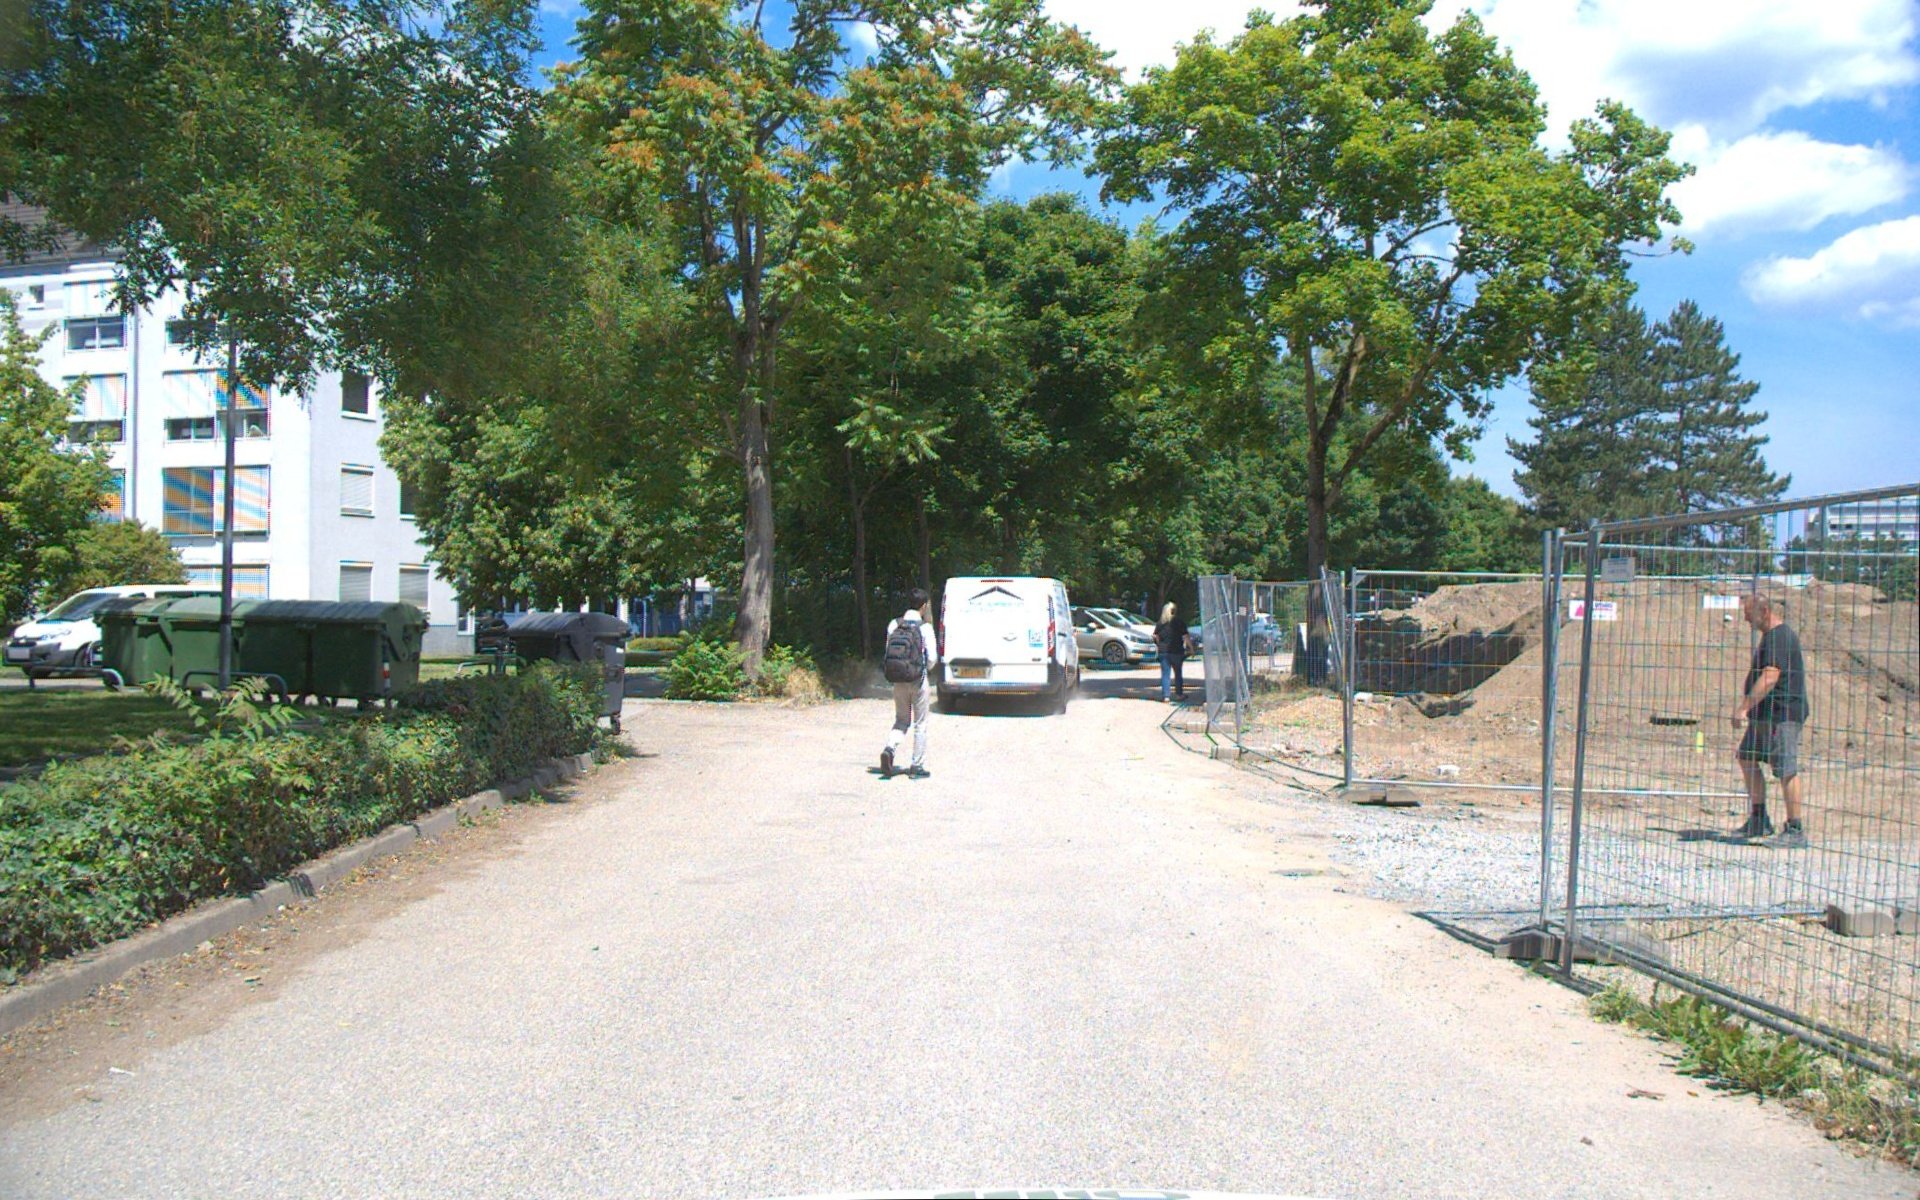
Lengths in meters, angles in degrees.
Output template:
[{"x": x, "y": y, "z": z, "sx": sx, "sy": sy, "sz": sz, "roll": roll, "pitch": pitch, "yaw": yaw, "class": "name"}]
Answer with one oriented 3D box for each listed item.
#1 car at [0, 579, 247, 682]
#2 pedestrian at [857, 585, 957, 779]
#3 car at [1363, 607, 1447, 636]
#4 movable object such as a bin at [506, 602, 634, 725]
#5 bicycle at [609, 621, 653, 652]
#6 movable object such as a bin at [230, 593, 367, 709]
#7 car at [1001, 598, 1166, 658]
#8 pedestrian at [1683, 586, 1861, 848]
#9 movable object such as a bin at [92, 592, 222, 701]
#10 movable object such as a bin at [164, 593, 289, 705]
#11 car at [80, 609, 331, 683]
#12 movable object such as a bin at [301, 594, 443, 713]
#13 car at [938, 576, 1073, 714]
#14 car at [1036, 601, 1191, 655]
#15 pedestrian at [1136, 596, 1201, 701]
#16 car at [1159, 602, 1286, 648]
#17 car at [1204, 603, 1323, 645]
[{"x": -17.839, "y": 0.623, "z": 35.243, "sx": 1.954, "sy": 2.049, "sz": 4.771, "roll": 0, "pitch": -1, "yaw": 25, "class": "car"}, {"x": -0.487, "y": 0.737, "z": 15.580, "sx": 0.855, "sy": 1.759, "sz": 1.080, "roll": 0, "pitch": 0, "yaw": 2, "class": "pedestrian"}, {"x": 25.515, "y": 1.209, "z": 94.900, "sx": 4.416, "sy": 1.626, "sz": 1.724, "roll": 0, "pitch": 0, "yaw": 25, "class": "car"}, {"x": -4.710, "y": 0.732, "z": 19.975, "sx": 1.106, "sy": 1.418, "sz": 1.143, "roll": 0, "pitch": 0, "yaw": -42, "class": "movable object such as a bin"}, {"x": -12.078, "y": 1.342, "z": 60.809, "sx": 0.587, "sy": 1.103, "sz": 1.939, "roll": 0, "pitch": 0, "yaw": 23, "class": "bicycle"}, {"x": -8.913, "y": 0.666, "z": 22.336, "sx": 1.327, "sy": 1.505, "sz": 1.097, "roll": 0, "pitch": 0, "yaw": 15, "class": "movable object such as a bin"}, {"x": 3.620, "y": 0.815, "z": 48.499, "sx": 4.417, "sy": 1.637, "sz": 1.998, "roll": 1, "pitch": -2, "yaw": 26, "class": "car"}, {"x": 5.965, "y": 0.827, "z": 12.201, "sx": 0.944, "sy": 1.851, "sz": 0.871, "roll": 0, "pitch": 0, "yaw": 7, "class": "pedestrian"}, {"x": -11.450, "y": 0.641, "z": 23.600, "sx": 1.377, "sy": 1.505, "sz": 1.047, "roll": 0, "pitch": 0, "yaw": 26, "class": "movable object such as a bin"}, {"x": -10.159, "y": 0.654, "z": 22.919, "sx": 1.233, "sy": 1.505, "sz": 1.047, "roll": 0, "pitch": 0, "yaw": 26, "class": "movable object such as a bin"}, {"x": -15.299, "y": 0.886, "z": 33.825, "sx": 1.791, "sy": 1.376, "sz": 4.623, "roll": 1, "pitch": 0, "yaw": 25, "class": "car"}, {"x": -7.728, "y": 0.678, "z": 21.787, "sx": 1.294, "sy": 1.505, "sz": 1.208, "roll": 0, "pitch": 0, "yaw": 22, "class": "movable object such as a bin"}, {"x": 0.814, "y": 0.648, "z": 26.139, "sx": 1.931, "sy": 1.981, "sz": 4.583, "roll": 0, "pitch": 0, "yaw": 4, "class": "car"}, {"x": 4.709, "y": 0.829, "z": 50.786, "sx": 4.416, "sy": 1.558, "sz": 1.724, "roll": 1, "pitch": 0, "yaw": 25, "class": "car"}, {"x": 3.449, "y": 0.785, "z": 27.293, "sx": 1.013, "sy": 1.679, "sz": 1.050, "roll": 0, "pitch": 0, "yaw": 10, "class": "pedestrian"}, {"x": 9.869, "y": 0.902, "z": 62.272, "sx": 4.416, "sy": 1.625, "sz": 1.724, "roll": 1, "pitch": 0, "yaw": 25, "class": "car"}, {"x": 12.359, "y": 0.968, "z": 67.309, "sx": 4.416, "sy": 1.626, "sz": 1.935, "roll": 1, "pitch": 0, "yaw": 26, "class": "car"}]
